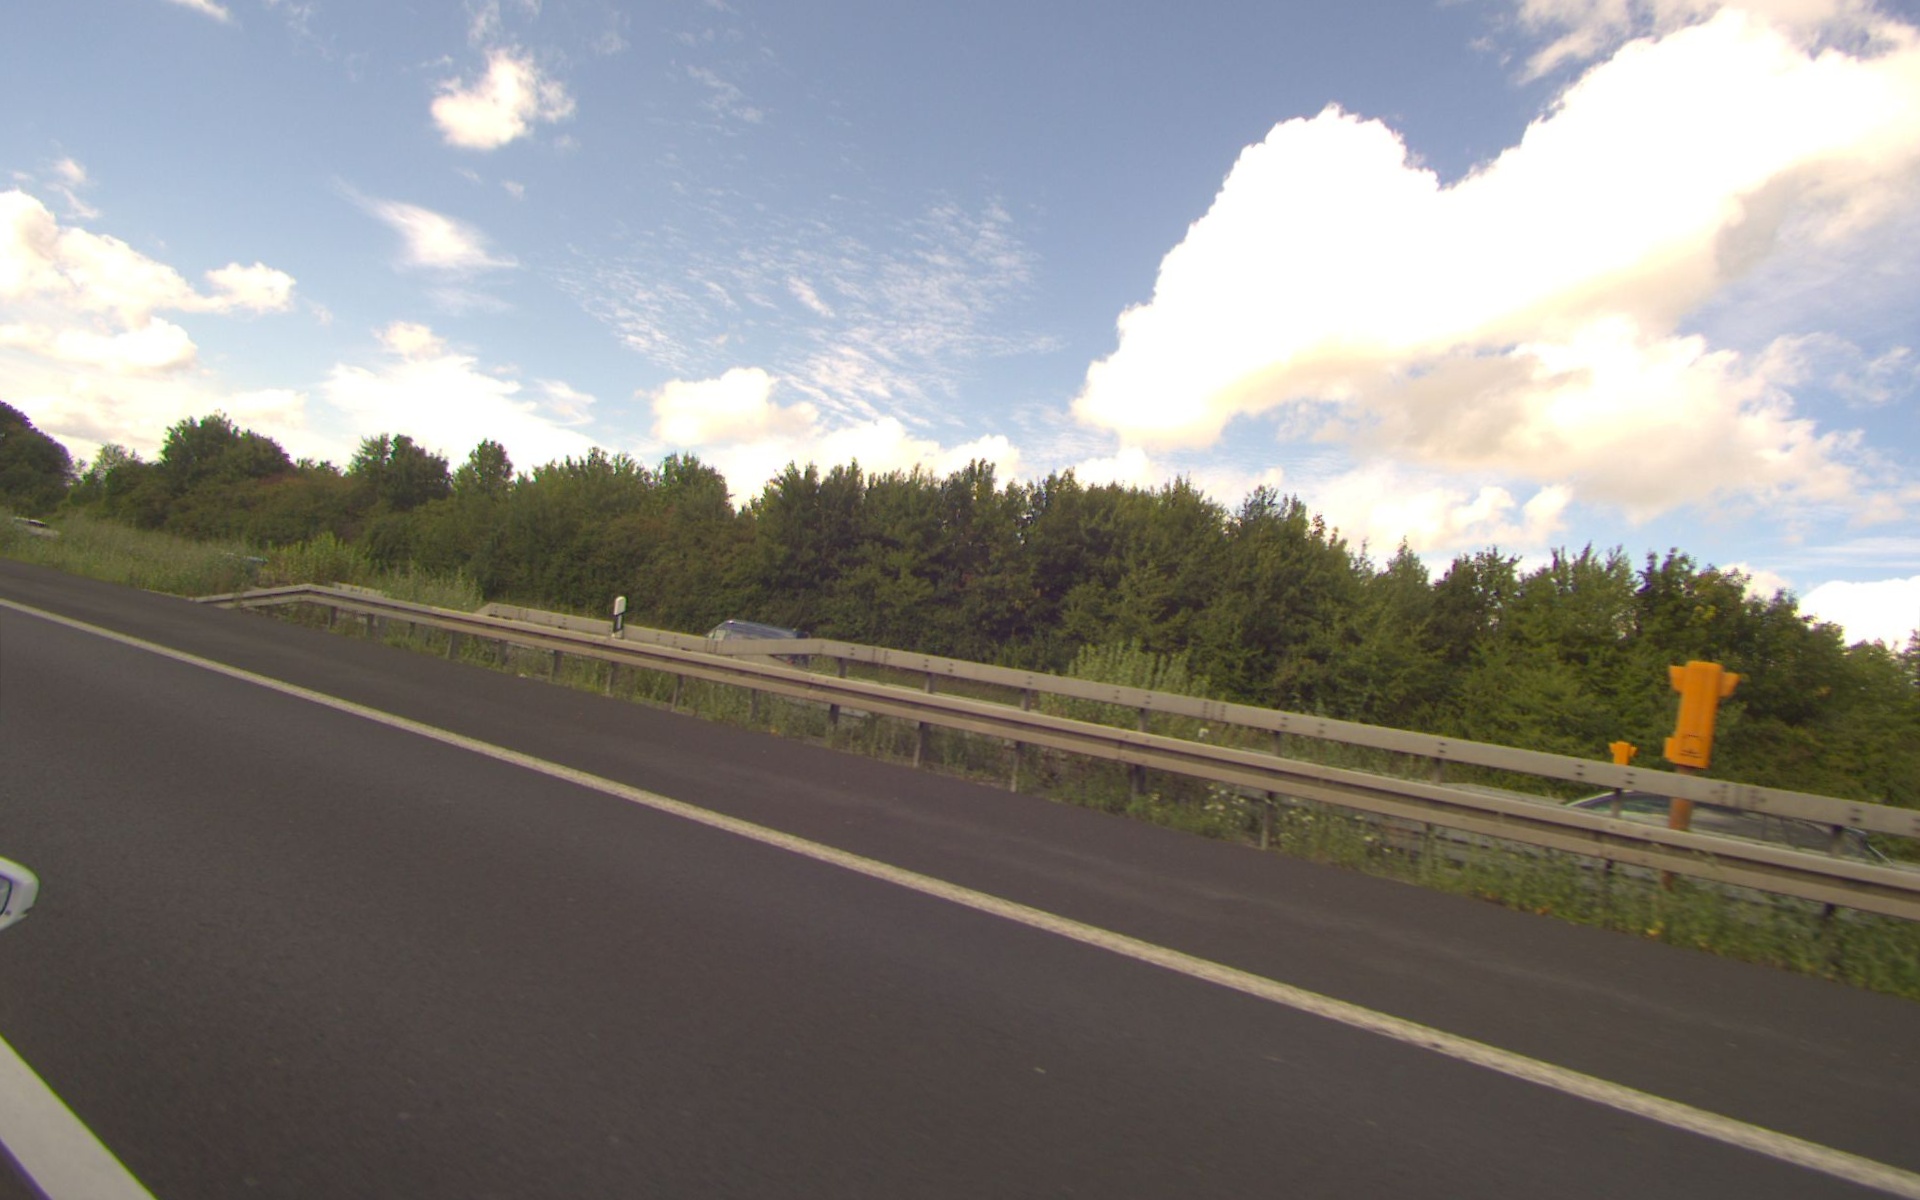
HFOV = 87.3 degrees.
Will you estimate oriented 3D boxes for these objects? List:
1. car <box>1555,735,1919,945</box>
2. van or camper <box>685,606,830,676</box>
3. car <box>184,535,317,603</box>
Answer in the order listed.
[{"bbox_3d":[9.359,2.685,11.432,4.274,1.589,1.787,6,-2,34],"label":"car"},{"bbox_3d":[-8.788,1.775,43.596,5.673,2.204,2.199,7,-2,23],"label":"van or camper"},{"bbox_3d":[-22.363,-0.977,31.707,3.956,1.589,1.789,7,-2,30],"label":"car"}]
